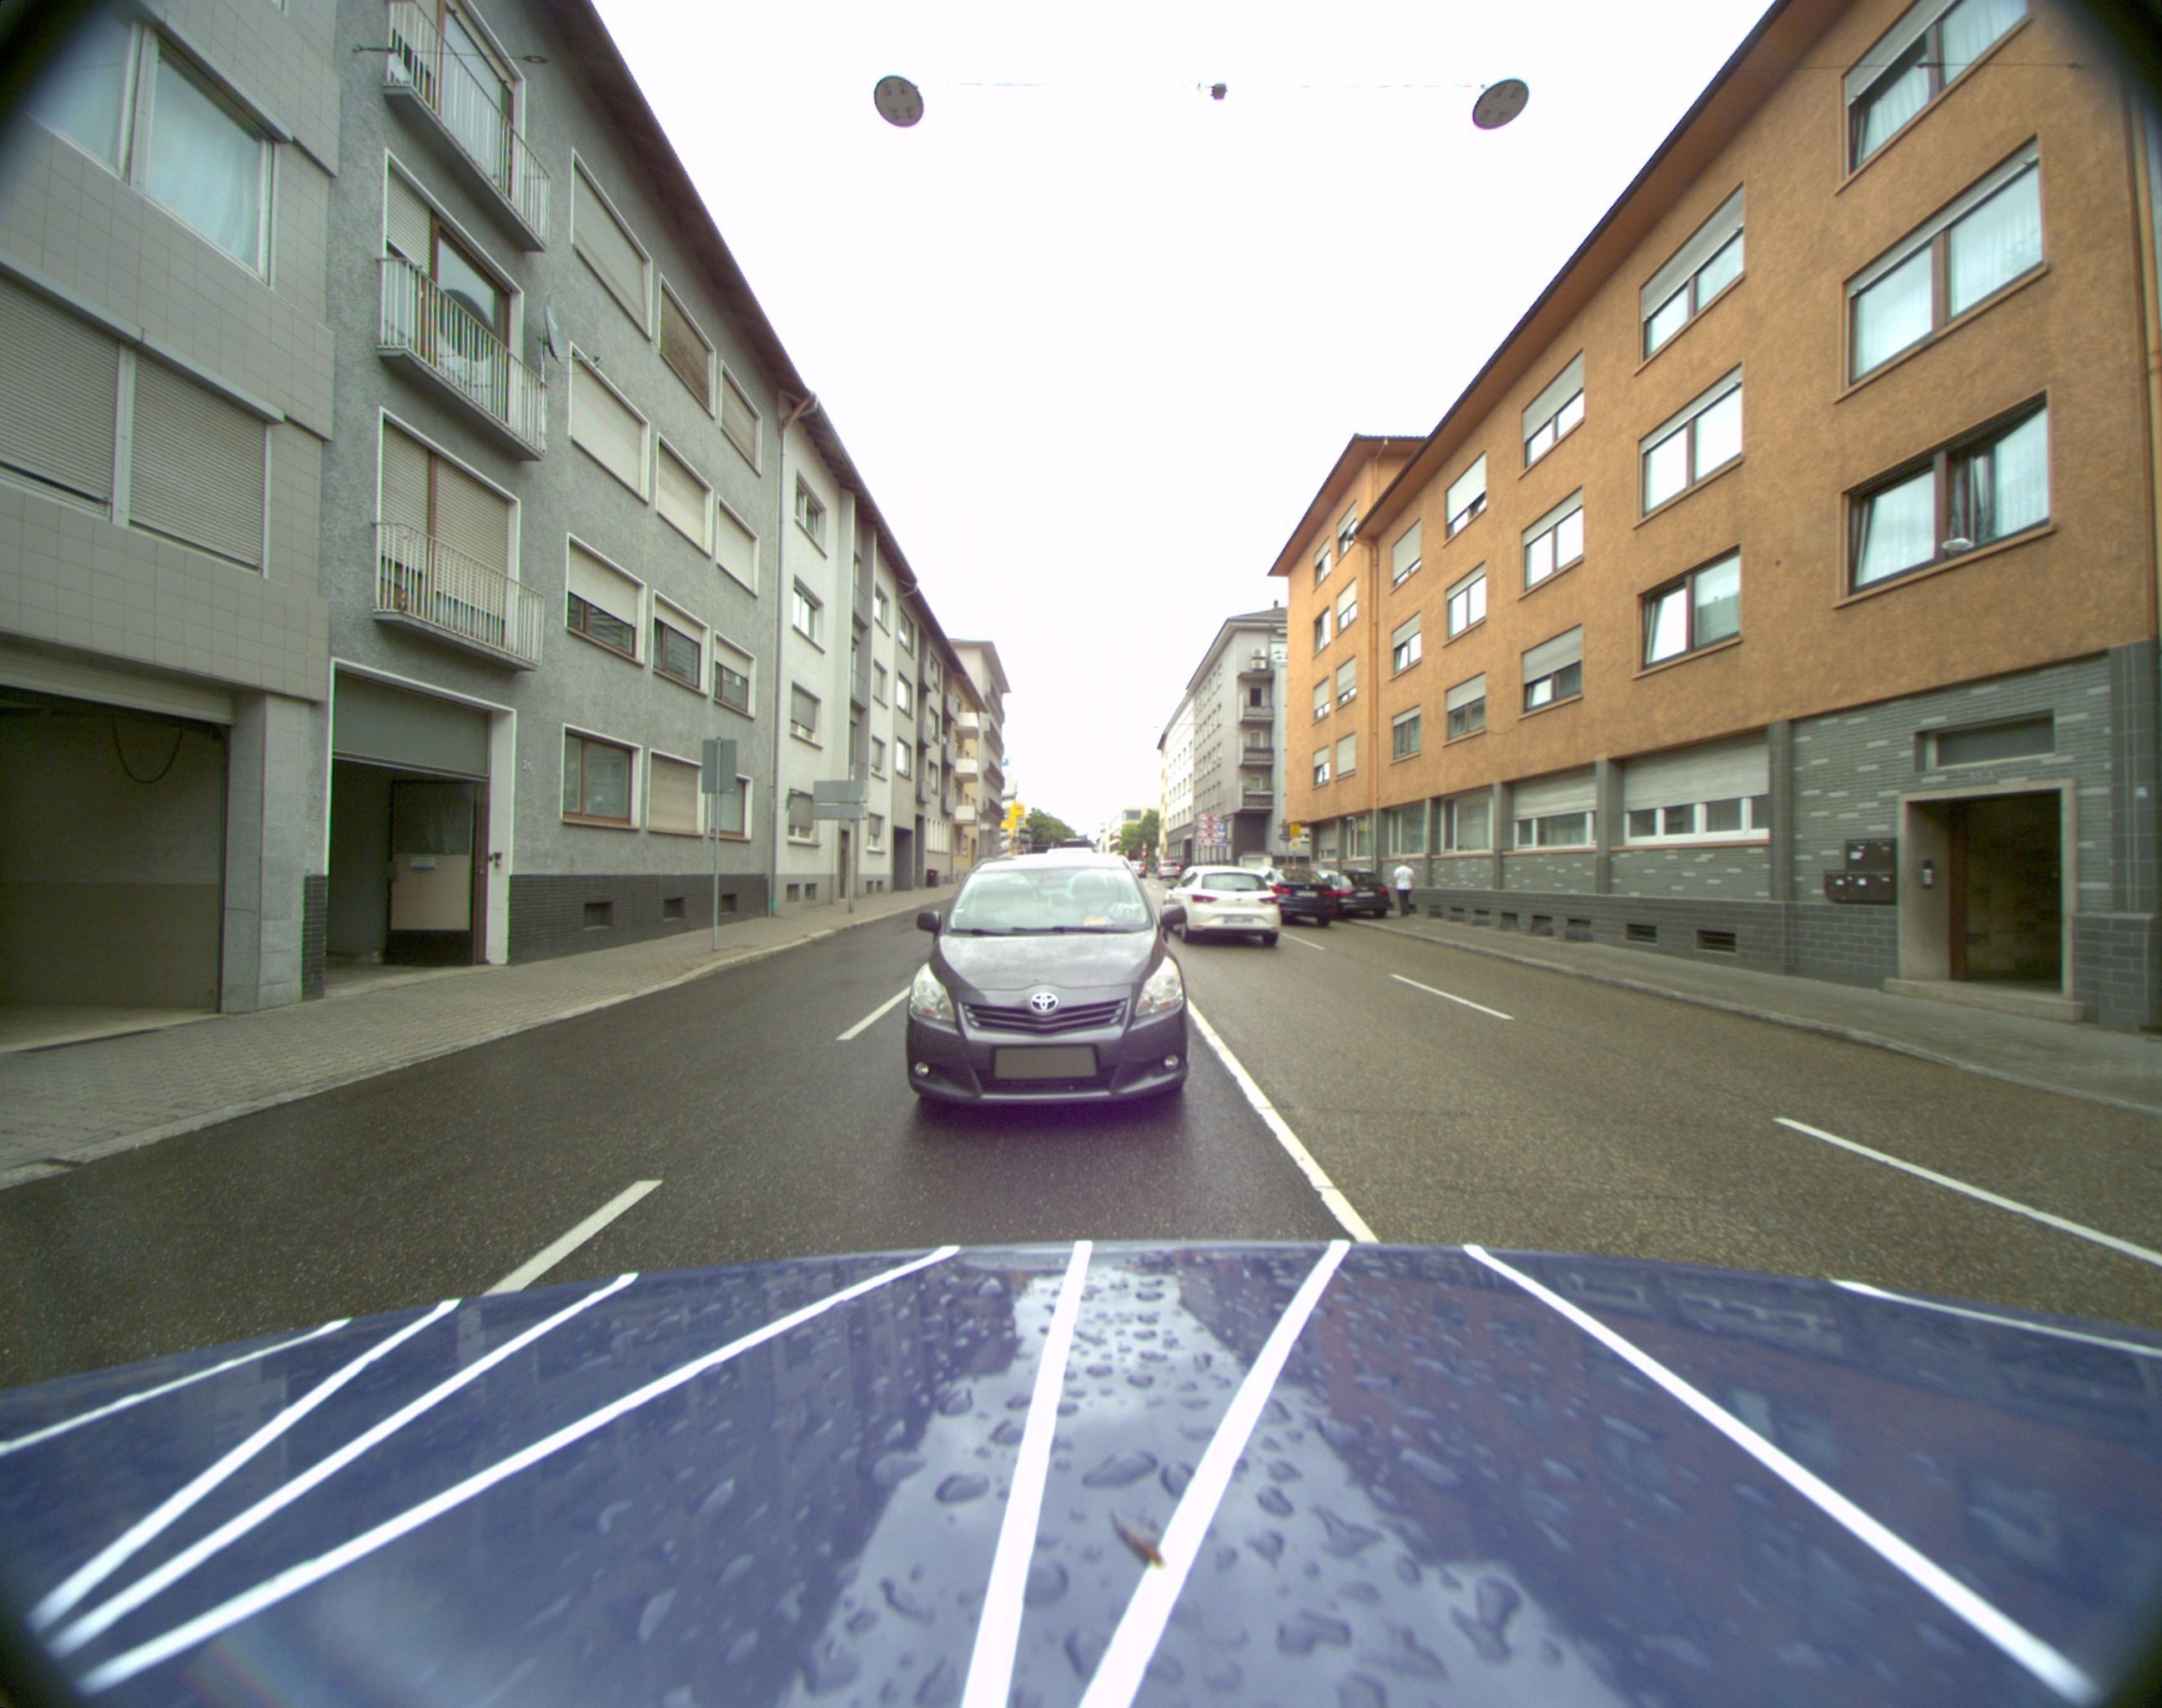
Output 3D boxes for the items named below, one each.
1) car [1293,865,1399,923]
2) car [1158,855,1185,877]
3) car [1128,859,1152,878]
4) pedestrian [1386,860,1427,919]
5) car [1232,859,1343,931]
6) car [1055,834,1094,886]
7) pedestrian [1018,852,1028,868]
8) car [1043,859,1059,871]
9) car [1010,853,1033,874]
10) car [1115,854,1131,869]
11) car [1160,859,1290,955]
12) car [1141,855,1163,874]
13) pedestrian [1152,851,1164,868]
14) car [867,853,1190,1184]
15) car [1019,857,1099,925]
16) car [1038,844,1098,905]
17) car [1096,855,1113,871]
[{"bbox_3d":[8.038,1.148,23.468,1.799,1.466,4.217,-2,1,1],"label":"car"},{"bbox_3d":[7.811,0.990,65.760,1.856,1.712,4.217,-2,1,1],"label":"car"},{"bbox_3d":[5.493,1.335,71.417,1.856,1.651,4.610,-2,1,1],"label":"car"},{"bbox_3d":[9.455,1.024,22.120,0.768,1.630,1.023,-2,1,5],"label":"pedestrian"},{"bbox_3d":[5.485,1.019,20.770,1.699,1.530,4.435,4,1,0],"label":"car"},{"bbox_3d":[-0.336,0.293,43.653,2.033,2.731,4.368,-2,1,1],"label":"car"},{"bbox_3d":[-6.561,0.675,86.383,1.119,1.741,0.961,1,1,-5],"label":"pedestrian"},{"bbox_3d":[-4.021,1.460,103.253,1.856,1.369,4.217,-2,1,1],"label":"car"},{"bbox_3d":[-5.135,0.781,65.894,1.856,1.663,4.215,-2,1,-4],"label":"car"},{"bbox_3d":[5.349,0.909,97.373,1.856,1.712,4.217,-2,1,1],"label":"car"},{"bbox_3d":[2.713,0.938,15.248,1.749,1.530,4.052,2,1,-1],"label":"car"},{"bbox_3d":[7.252,1.060,77.684,1.856,1.712,4.217,-2,1,1],"label":"car"},{"bbox_3d":[9.140,0.662,90.499,1.309,2.002,1.258,-2,1,1],"label":"pedestrian"},{"bbox_3d":[-0.258,0.902,6.260,1.699,1.712,4.217,-2,1,1],"label":"car"},{"bbox_3d":[-0.511,0.892,20.104,1.856,1.524,3.792,-2,1,1],"label":"car"},{"bbox_3d":[-0.401,0.634,26.609,1.856,1.882,4.217,-2,1,1],"label":"car"},{"bbox_3d":[2.839,1.057,92.794,1.856,1.712,4.217,-2,1,1],"label":"car"}]
